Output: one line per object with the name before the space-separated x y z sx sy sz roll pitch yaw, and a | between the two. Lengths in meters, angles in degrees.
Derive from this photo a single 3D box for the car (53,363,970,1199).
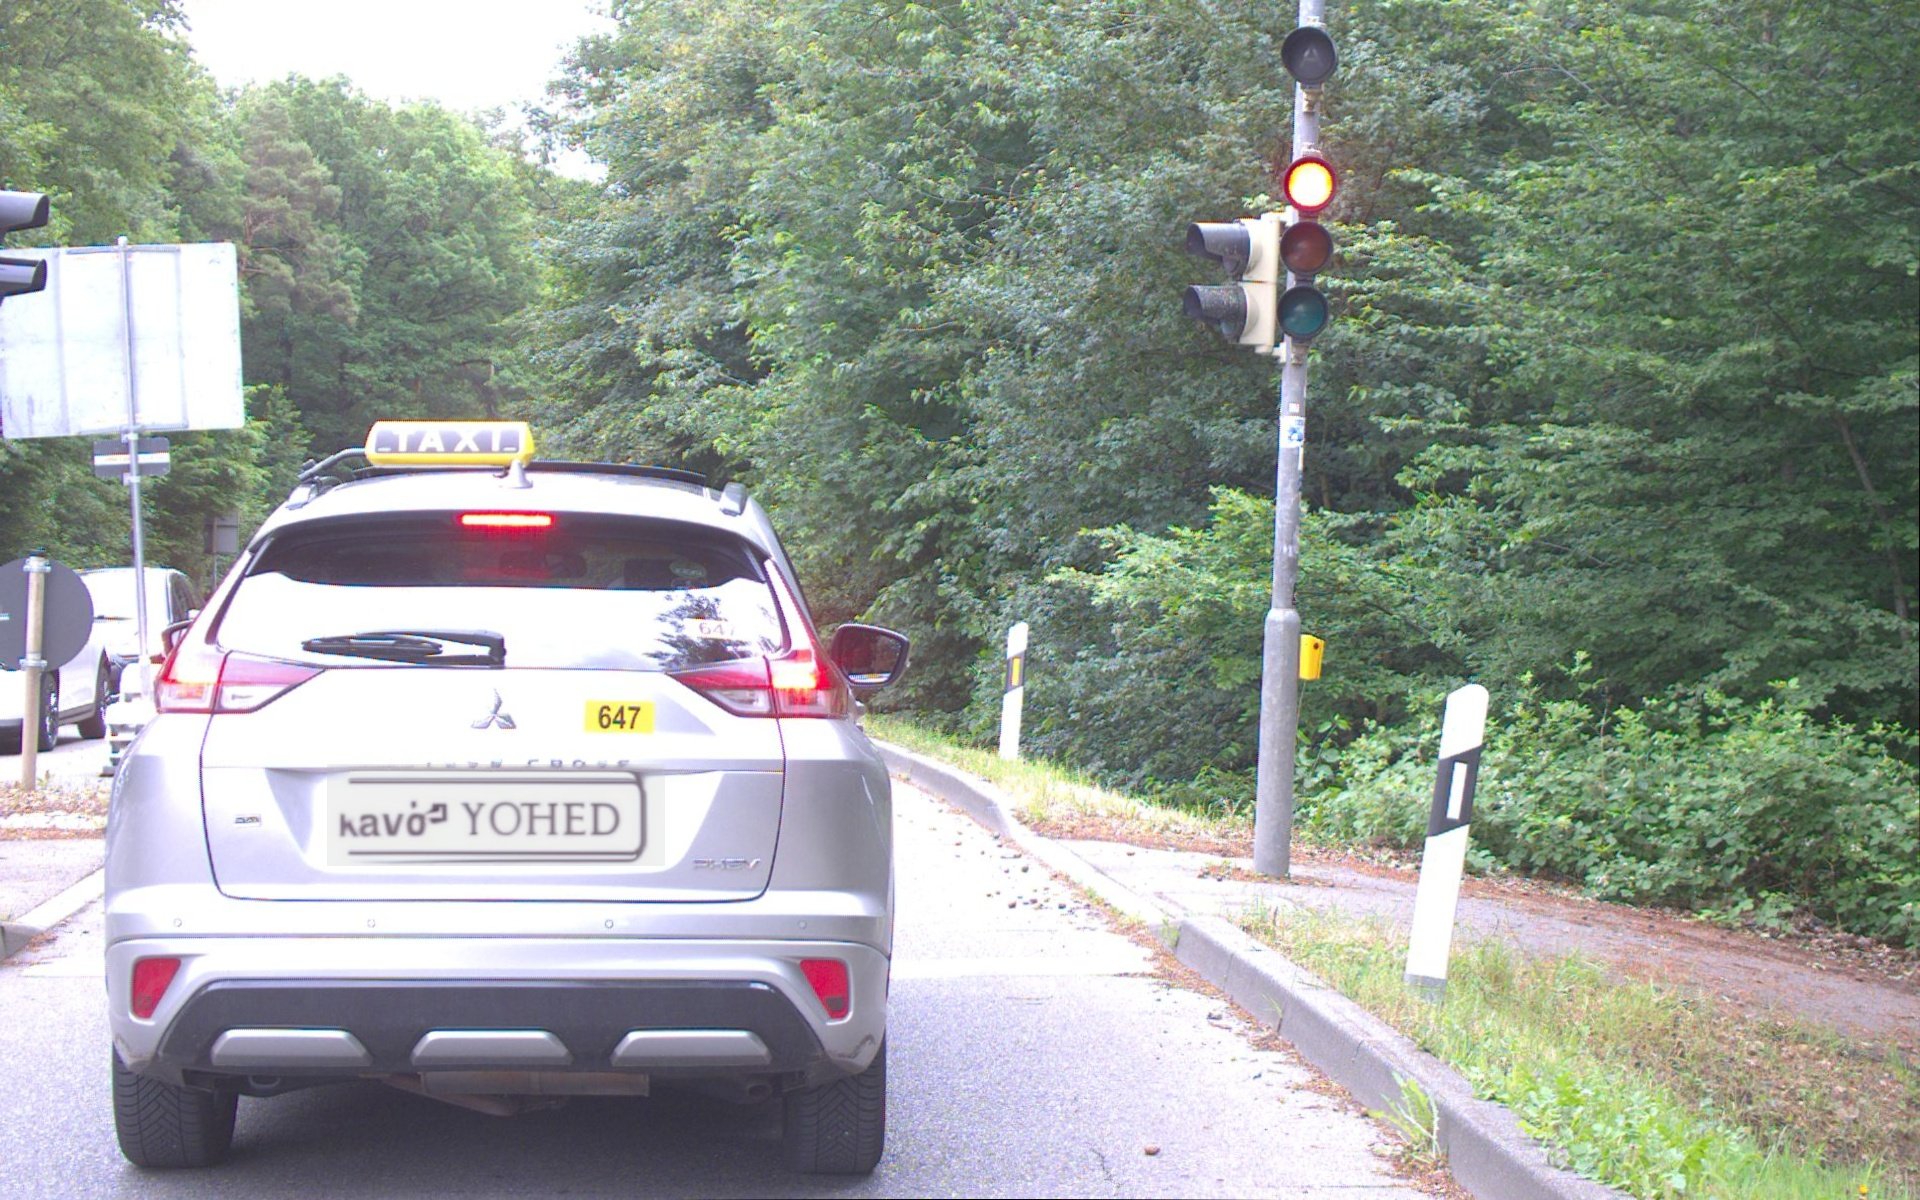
car | -1.111 0.391 9.110 1.846 1.774 4.001 1 1 -6

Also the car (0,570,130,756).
car | -7.813 0.471 27.428 1.612 1.317 3.722 -2 2 -3

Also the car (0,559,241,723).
car | -8.411 0.371 34.305 1.811 1.503 3.722 -2 1 -3
